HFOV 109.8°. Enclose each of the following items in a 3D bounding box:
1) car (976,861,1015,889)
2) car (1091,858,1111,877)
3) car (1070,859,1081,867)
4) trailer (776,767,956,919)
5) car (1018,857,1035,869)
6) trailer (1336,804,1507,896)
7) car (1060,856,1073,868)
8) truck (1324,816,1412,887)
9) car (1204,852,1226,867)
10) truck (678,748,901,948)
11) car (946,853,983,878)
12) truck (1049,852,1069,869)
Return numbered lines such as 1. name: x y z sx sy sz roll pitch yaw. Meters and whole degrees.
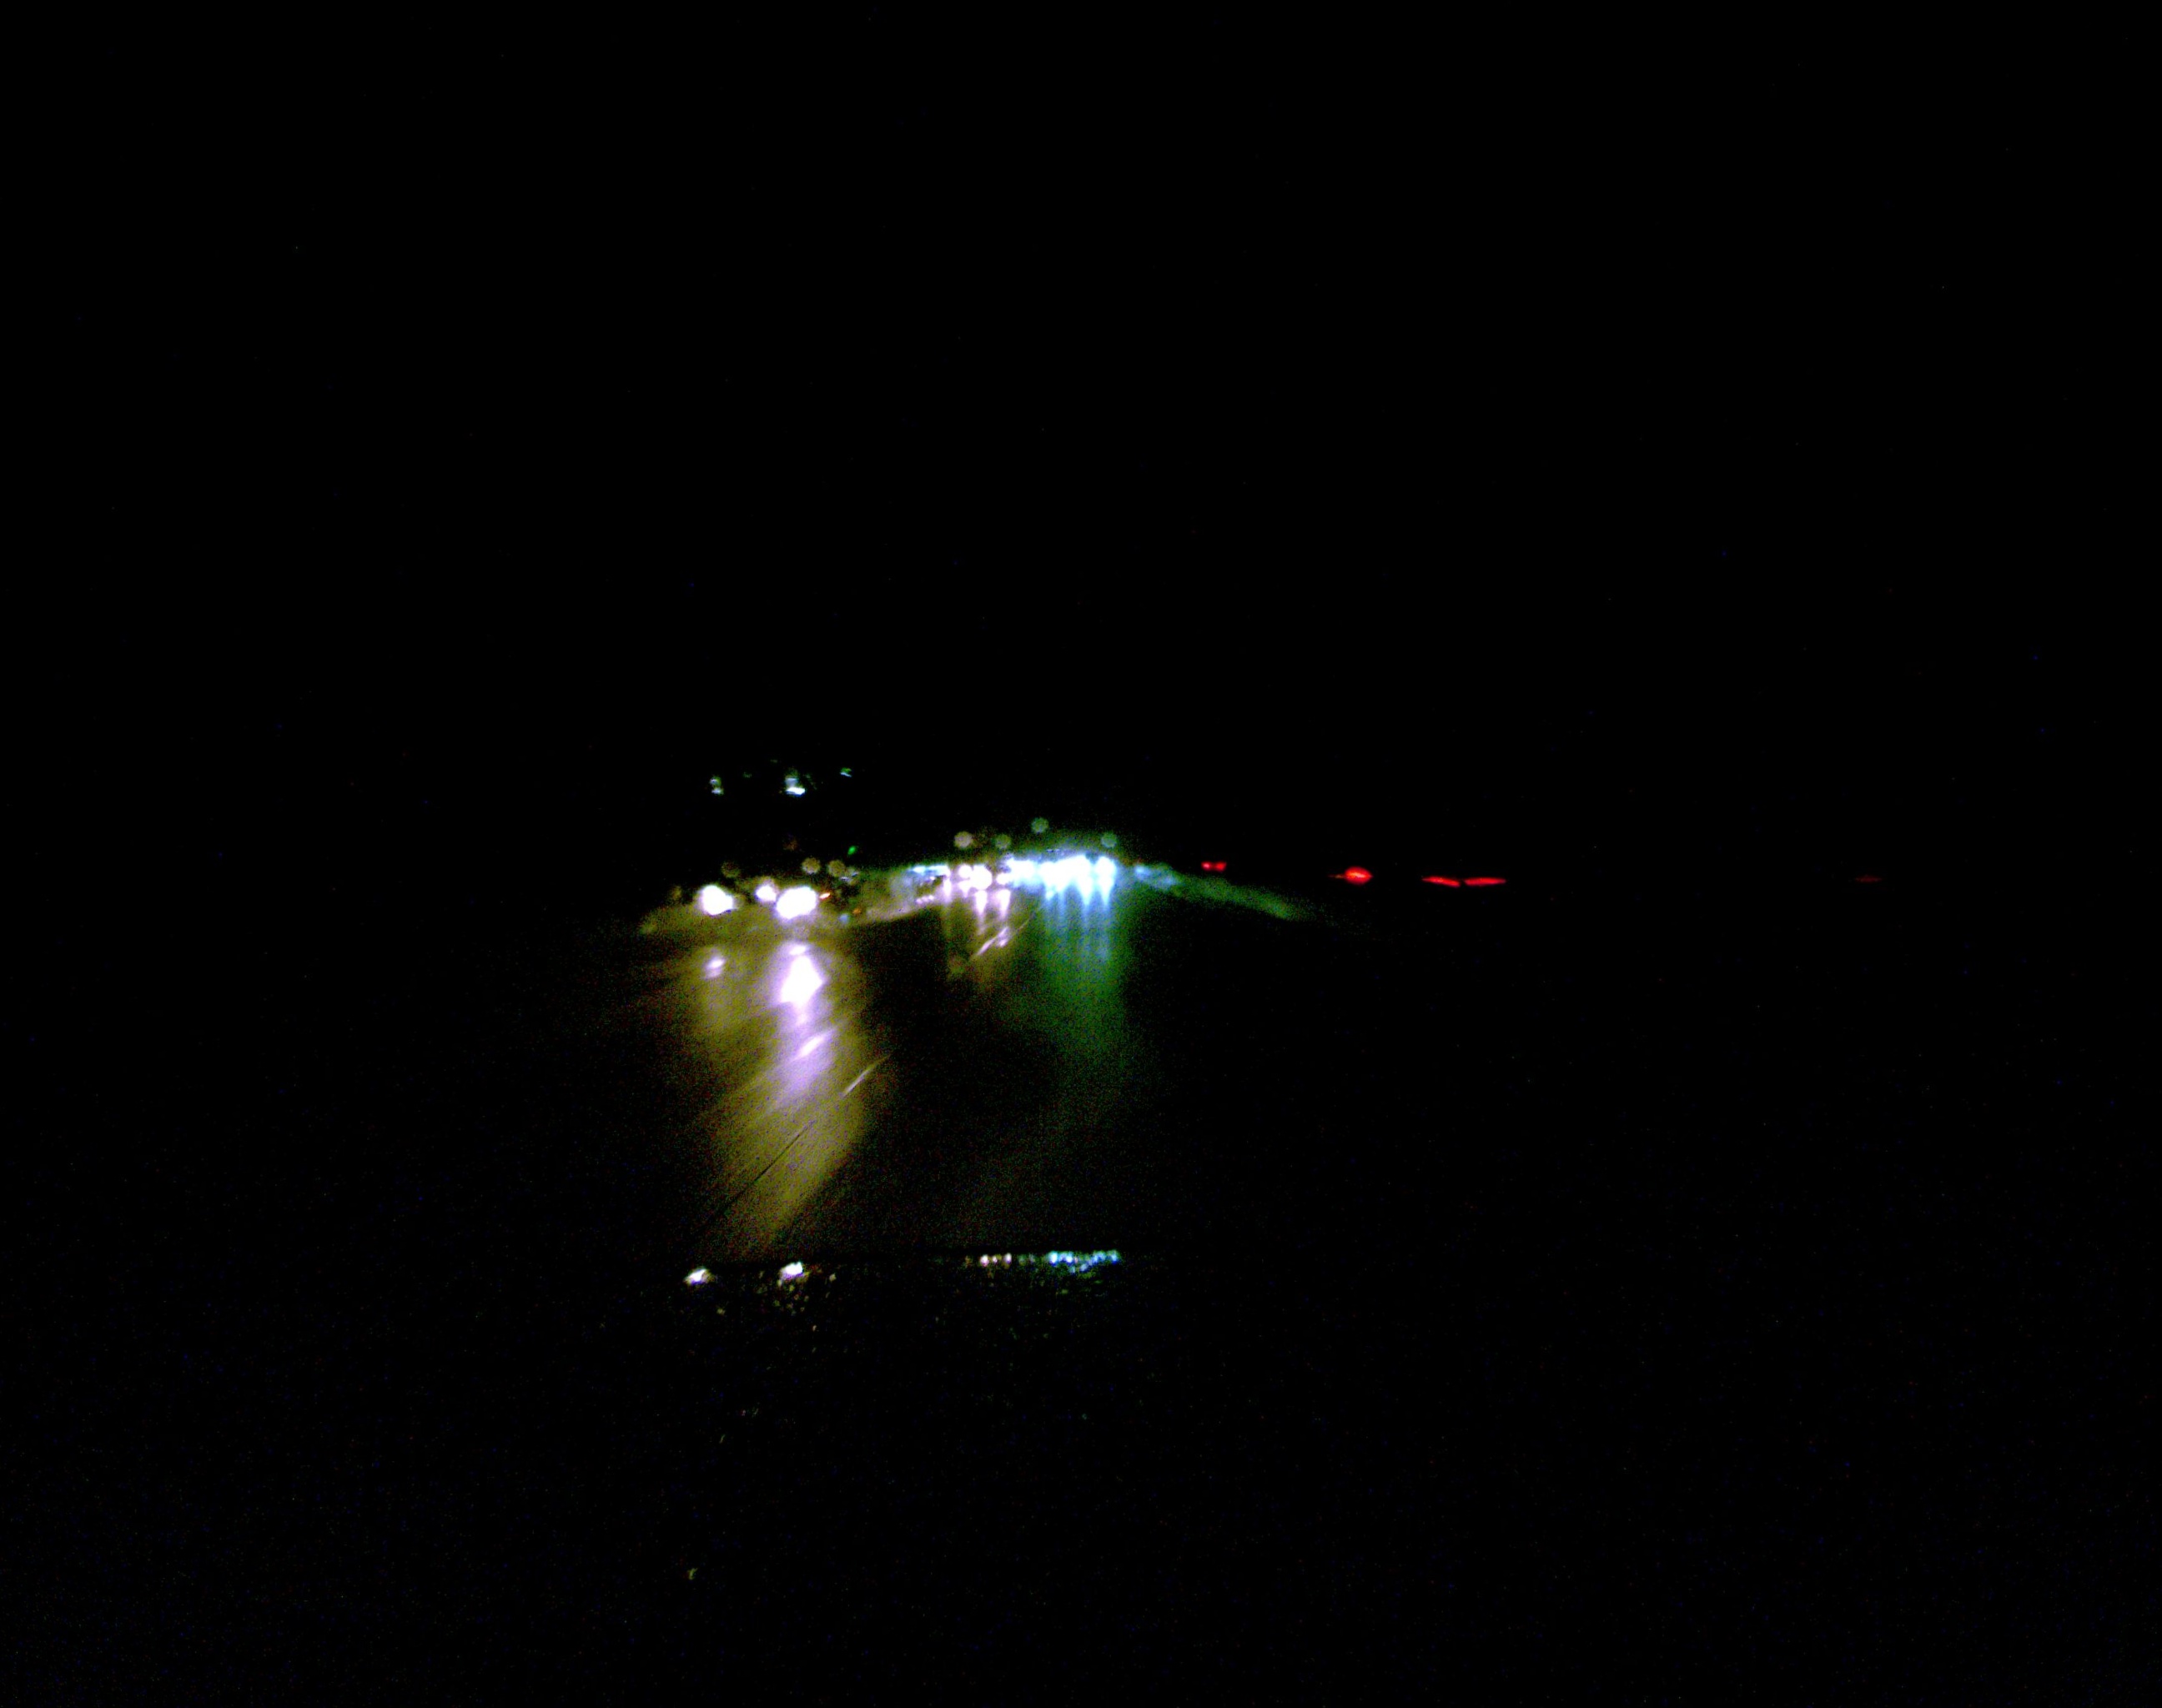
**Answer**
1. car: -4.775 1.129 42.750 1.616 1.404 3.792 -2 0 2
2. car: 1.710 1.122 64.130 1.619 1.452 3.768 -3 0 2
3. car: -1.172 1.842 161.712 1.944 1.521 4.000 -3 0 2
4. trailer: -7.052 -0.315 27.468 2.810 4.187 12.096 -2 0 1
5. car: -7.247 1.221 100.776 1.747 1.470 5.366 -3 0 1
6. trailer: 17.577 -0.154 40.999 2.975 4.070 14.222 0 0 1
7. car: -2.030 1.142 109.105 1.619 1.494 3.768 -3 0 2
8. truck: 17.645 -0.121 47.270 2.928 4.070 6.994 0 0 1
9. car: 14.997 0.592 85.185 1.801 1.565 3.973 -1 0 1
10. truck: -7.206 -0.126 20.205 2.810 4.242 7.448 -2 0 1
11. car: -9.767 0.929 64.001 2.051 1.962 5.407 1 0 2
12. truck: -2.248 0.658 79.007 1.848 1.686 4.854 -3 0 1
